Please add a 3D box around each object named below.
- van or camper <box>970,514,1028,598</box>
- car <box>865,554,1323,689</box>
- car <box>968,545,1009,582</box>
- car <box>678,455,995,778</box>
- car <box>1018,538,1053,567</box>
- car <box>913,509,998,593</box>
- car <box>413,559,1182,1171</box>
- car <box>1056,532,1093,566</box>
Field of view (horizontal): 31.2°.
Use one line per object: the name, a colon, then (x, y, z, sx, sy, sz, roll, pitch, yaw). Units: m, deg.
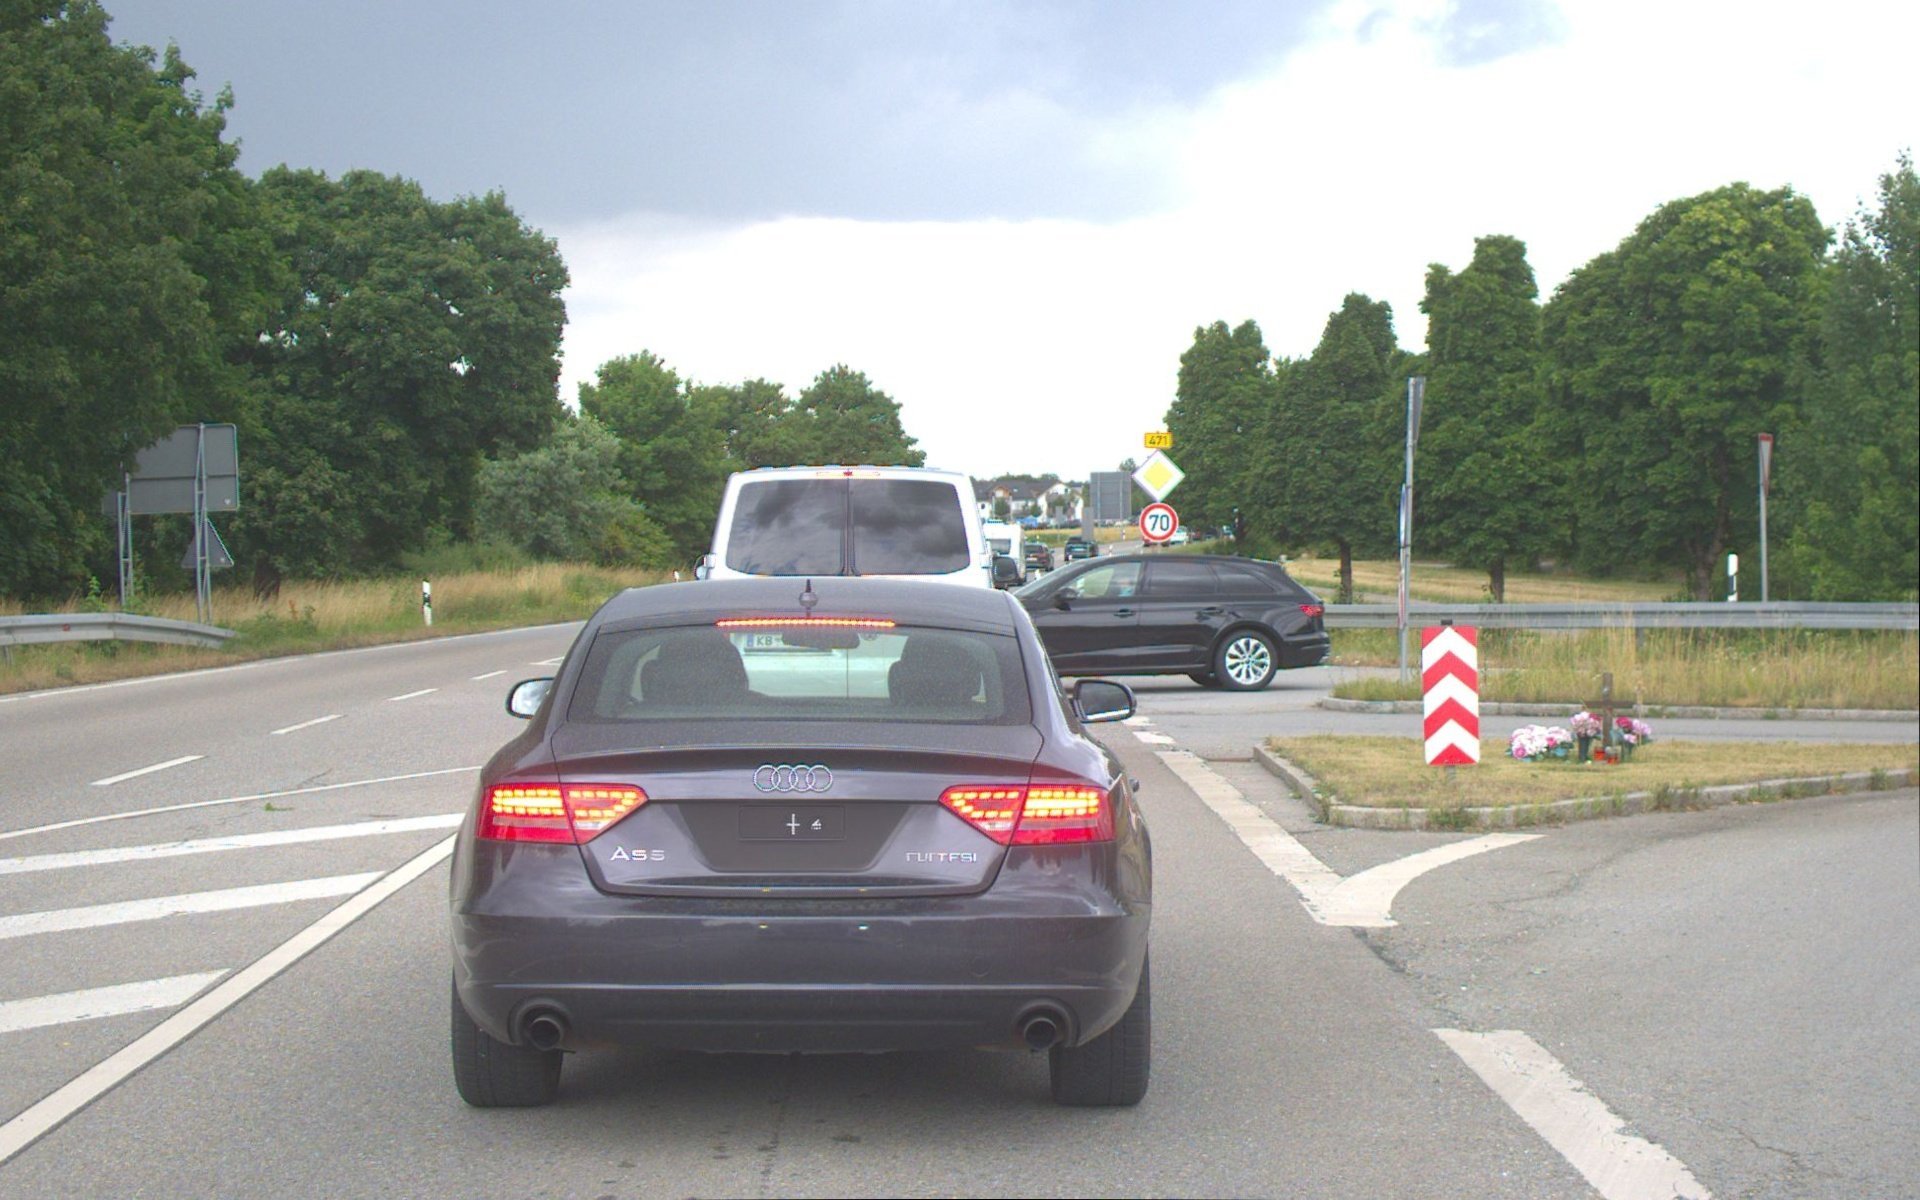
van or camper: (1.673, -1.866, 144.582, 2.340, 3.469, 5.718, 0, 1, 2)
car: (1.359, 0.207, 36.105, 4.595, 1.369, 1.827, 0, 1, -5)
car: (1.073, -1.357, 128.413, 1.258, 1.349, 3.465, 0, 1, 5)
car: (-0.748, 0.053, 22.204, 1.838, 1.876, 4.000, 1, 1, -1)
car: (3.860, -2.452, 176.402, 1.719, 1.446, 4.000, 1, 1, 1)
car: (-0.082, -1.248, 87.570, 1.994, 2.081, 4.000, 0, 1, 2)
car: (-0.402, 0.598, 10.037, 1.783, 1.372, 4.000, 1, 1, -1)
car: (6.823, -3.033, 204.651, 1.993, 2.007, 4.000, 0, 1, -1)
